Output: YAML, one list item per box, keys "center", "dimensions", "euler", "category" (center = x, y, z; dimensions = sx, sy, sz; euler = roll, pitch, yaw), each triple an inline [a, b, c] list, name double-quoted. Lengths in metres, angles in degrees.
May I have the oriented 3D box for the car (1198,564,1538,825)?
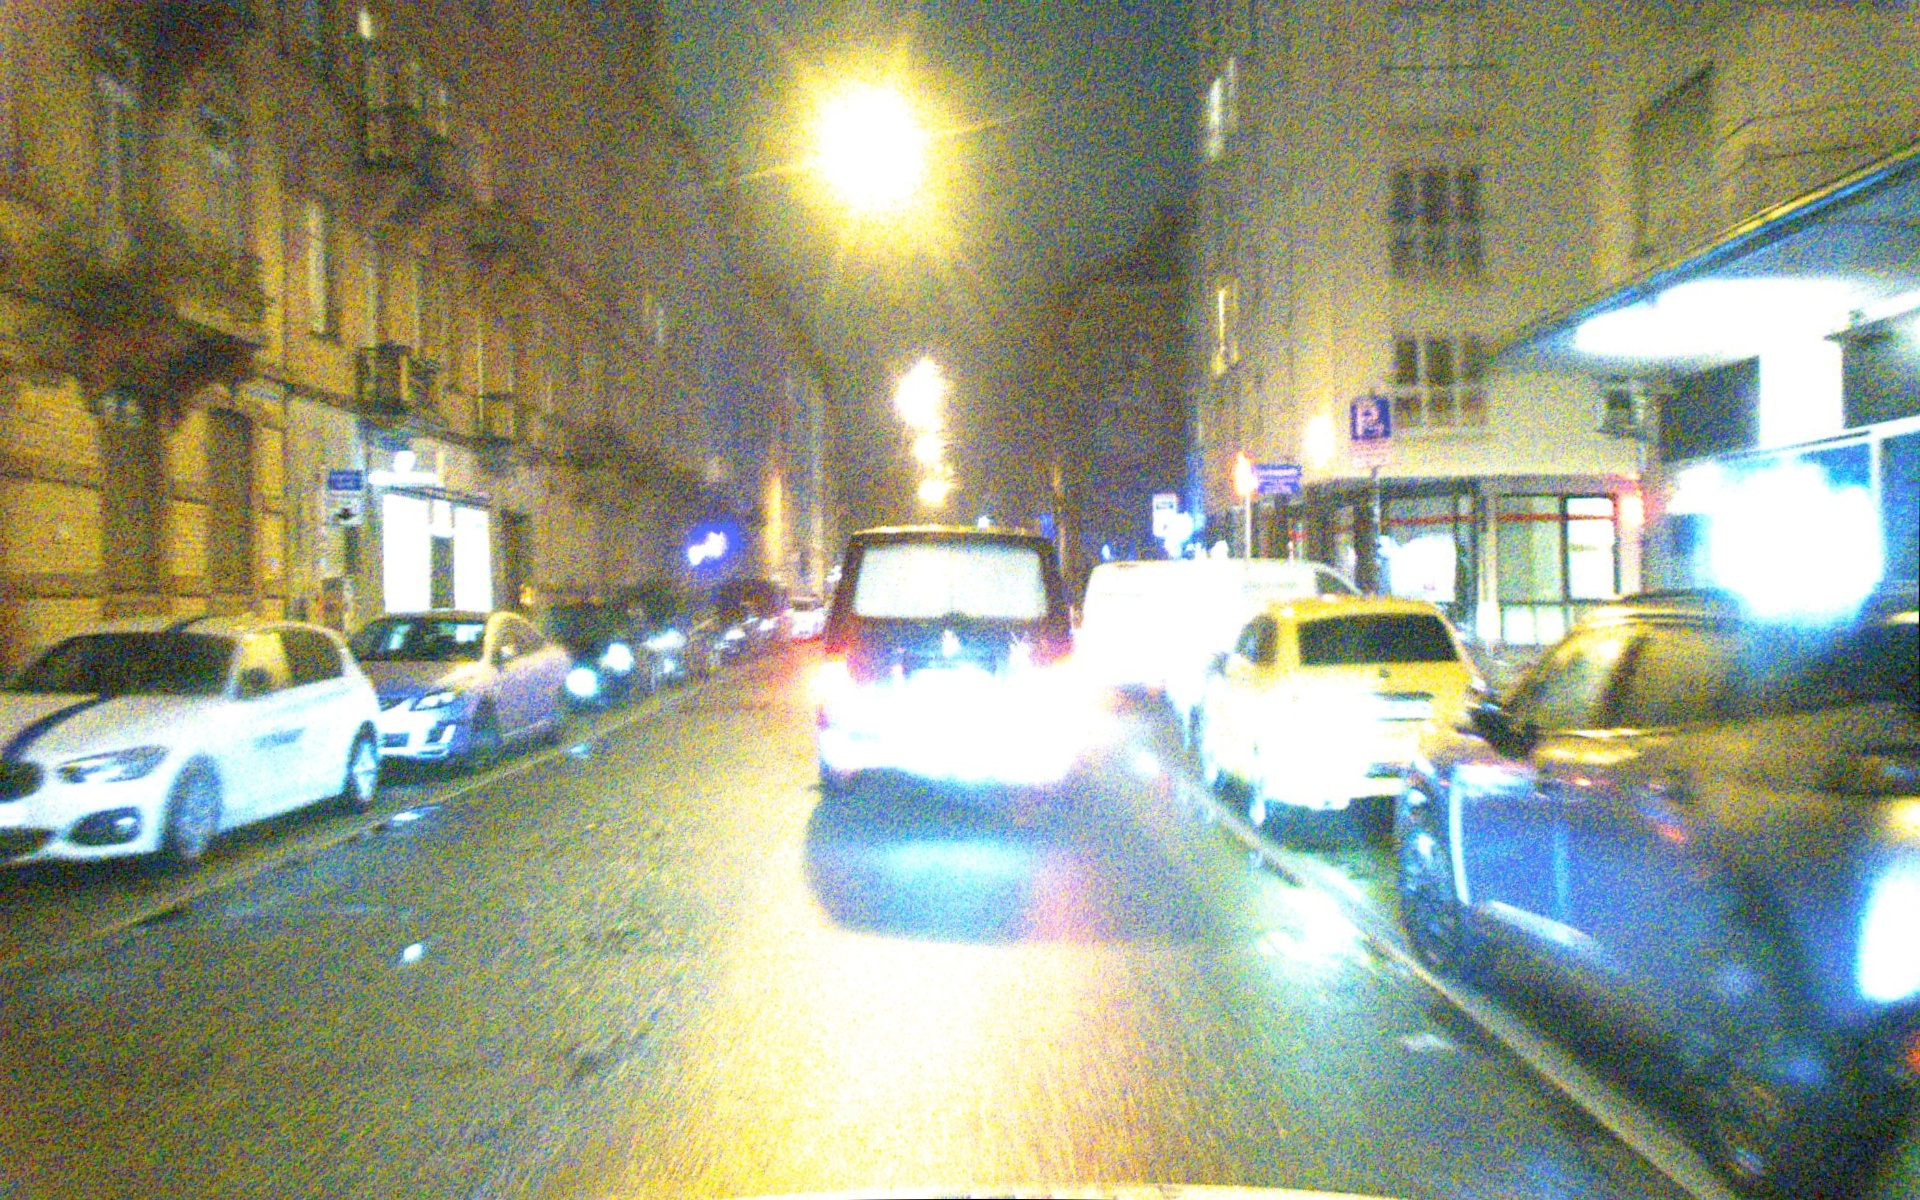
- center: [2.717, 0.591, 11.721]
  dimensions: [1.559, 1.570, 3.419]
  euler: [0, -1, 0]
  category: "car"

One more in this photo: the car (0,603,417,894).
- center: [-5.033, 0.764, 10.636]
  dimensions: [1.655, 1.425, 4.316]
  euler: [1, 0, 0]
  category: "car"

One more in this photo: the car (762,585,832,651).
- center: [-5.327, 0.582, 54.578]
  dimensions: [1.953, 2.049, 3.999]
  euler: [1, 0, -1]
  category: "car"

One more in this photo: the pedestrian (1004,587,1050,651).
- center: [1.834, 0.517, 45.452]
  dimensions: [1.201, 1.705, 0.697]
  euler: [-1, -1, -1]
  category: "pedestrian"

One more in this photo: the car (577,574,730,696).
- center: [-5.118, 0.558, 28.170]
  dimensions: [1.953, 1.895, 4.092]
  euler: [1, 0, -2]
  category: "car"

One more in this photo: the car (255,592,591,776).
- center: [-5.003, 0.694, 16.123]
  dimensions: [1.718, 1.474, 4.623]
  euler: [2, 0, 0]
  category: "car"

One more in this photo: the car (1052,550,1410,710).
- center: [3.733, 0.350, 22.423]
  dimensions: [4.773, 1.956, 2.102]
  euler: [0, 0, -37]
  category: "car"

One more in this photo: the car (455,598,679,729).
- center: [-4.835, 0.736, 20.939]
  dimensions: [1.953, 1.474, 3.999]
  euler: [1, 0, -2]
  category: "car"

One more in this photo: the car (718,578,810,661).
- center: [-5.062, 0.490, 43.175]
  dimensions: [1.953, 2.049, 3.999]
  euler: [1, 0, -1]
  category: "car"

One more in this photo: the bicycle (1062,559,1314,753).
- center: [2.193, 0.538, 16.184]
  dimensions: [2.272, 1.667, 0.888]
  euler: [-5, -1, 3]
  category: "bicycle"

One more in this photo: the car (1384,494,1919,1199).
- center: [2.812, 0.622, 5.419]
  dimensions: [1.717, 1.636, 3.988]
  euler: [0, -1, -2]
  category: "car"

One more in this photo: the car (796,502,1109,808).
- center: [-0.215, 0.349, 13.317]
  dimensions: [2.081, 2.026, 4.597]
  euler: [0, 0, -4]
  category: "car"

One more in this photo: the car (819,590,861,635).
- center: [-5.694, 0.573, 78.712]
  dimensions: [1.714, 2.049, 3.999]
  euler: [1, 0, -1]
  category: "car"

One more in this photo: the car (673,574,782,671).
- center: [-5.192, 0.484, 37.429]
  dimensions: [1.953, 2.049, 3.999]
  euler: [1, 0, -2]
  category: "car"
